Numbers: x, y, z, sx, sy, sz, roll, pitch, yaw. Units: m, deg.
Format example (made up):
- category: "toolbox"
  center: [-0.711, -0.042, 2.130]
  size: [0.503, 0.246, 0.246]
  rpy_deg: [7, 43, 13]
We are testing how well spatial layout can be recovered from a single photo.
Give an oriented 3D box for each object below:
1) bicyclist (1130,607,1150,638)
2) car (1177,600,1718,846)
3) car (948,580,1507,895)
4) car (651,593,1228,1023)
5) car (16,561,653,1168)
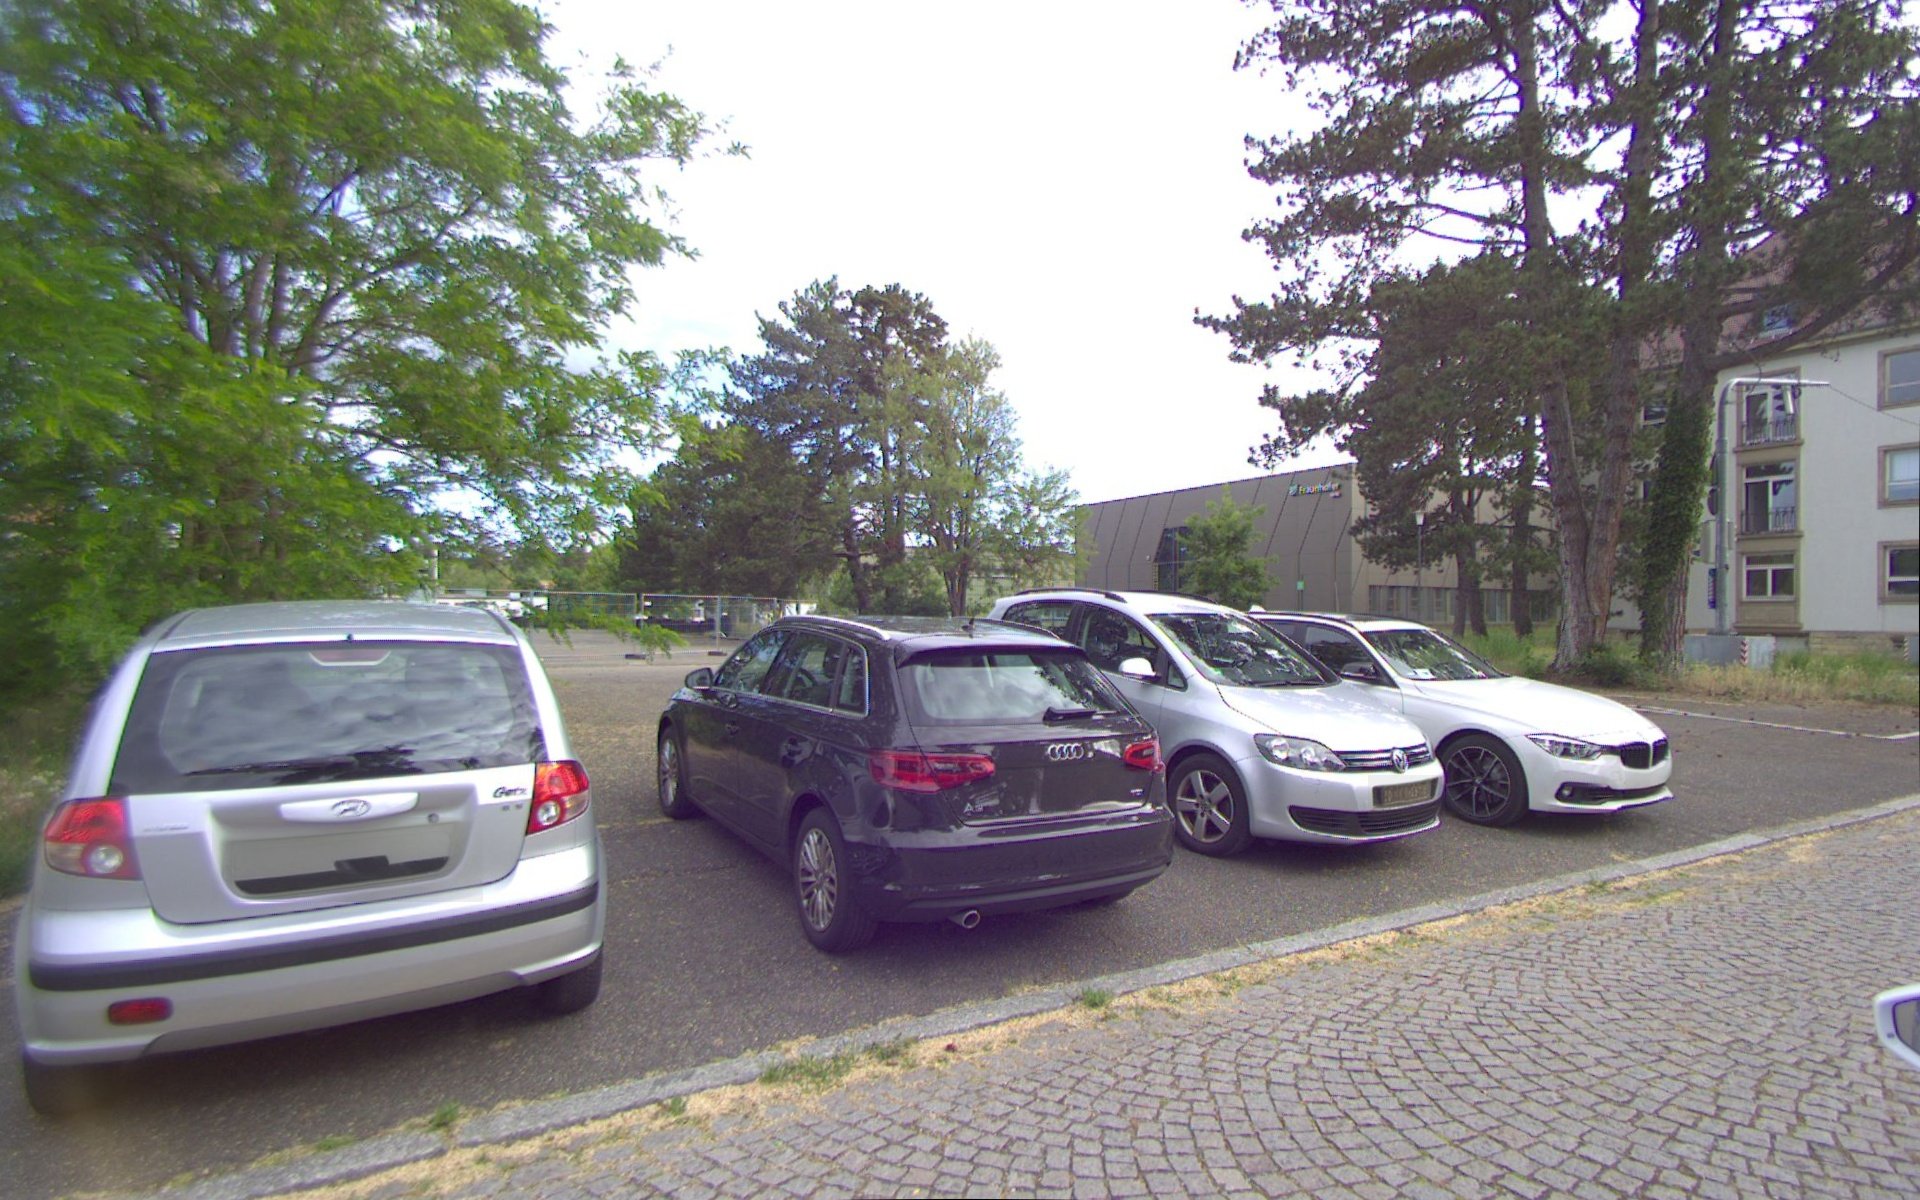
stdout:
- category: "bicyclist"
  center: [8.548, 1.060, 47.713]
  size: [0.598, 1.429, 0.746]
  rpy_deg: [0, 0, -29]
- category: "car"
  center: [3.834, 0.808, 8.630]
  size: [1.630, 1.441, 3.928]
  rpy_deg: [1, 2, -30]
- category: "car"
  center: [1.632, 0.709, 7.446]
  size: [1.632, 1.584, 3.925]
  rpy_deg: [1, 2, -32]
- category: "car"
  center: [-0.458, 0.762, 5.675]
  size: [1.565, 1.448, 3.725]
  rpy_deg: [1, 2, -32]
- category: "car"
  center: [-2.666, 0.618, 4.500]
  size: [1.565, 1.499, 3.682]
  rpy_deg: [1, 2, -32]
